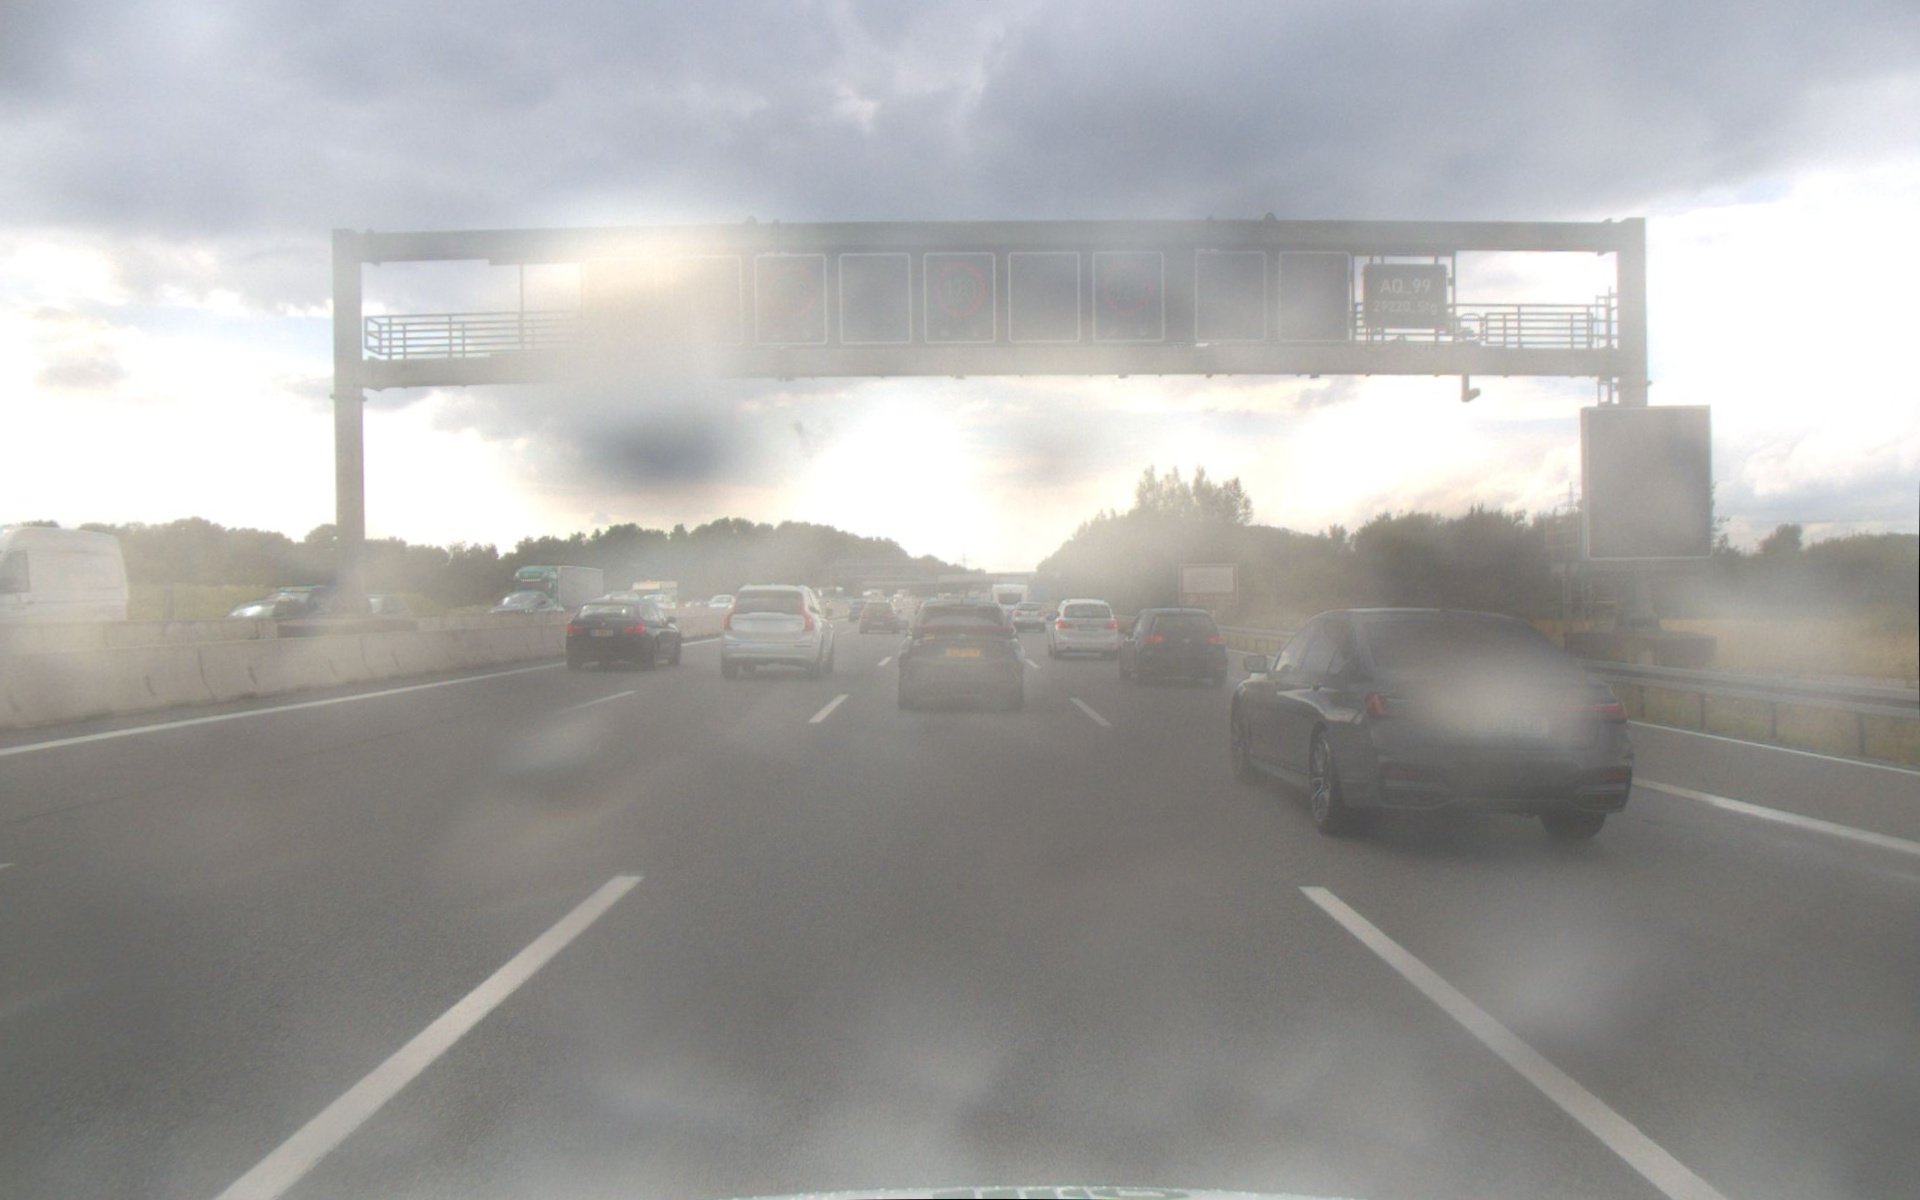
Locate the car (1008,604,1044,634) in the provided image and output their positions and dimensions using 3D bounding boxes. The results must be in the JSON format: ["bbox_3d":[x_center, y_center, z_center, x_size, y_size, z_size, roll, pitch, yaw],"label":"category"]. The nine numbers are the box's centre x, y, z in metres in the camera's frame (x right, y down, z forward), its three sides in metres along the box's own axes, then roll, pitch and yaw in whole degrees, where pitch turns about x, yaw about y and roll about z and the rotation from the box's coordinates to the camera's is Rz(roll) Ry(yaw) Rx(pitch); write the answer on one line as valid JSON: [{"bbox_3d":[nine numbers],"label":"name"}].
[{"bbox_3d":[3.341,0.967,84.597,1.758,1.503,4.038,1,0,1],"label":"car"}]

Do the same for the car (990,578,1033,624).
[{"bbox_3d":[3.323,0.073,108.573,2.514,2.946,7.532,1,0,-1],"label":"car"}]

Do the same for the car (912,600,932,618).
[{"bbox_3d":[-3.702,0.882,160.748,1.843,1.715,3.999,1,0,-1],"label":"car"}]

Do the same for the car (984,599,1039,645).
[{"bbox_3d":[1.972,0.824,63.852,1.843,1.715,3.998,1,0,-2],"label":"car"}]

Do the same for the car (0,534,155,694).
[{"bbox_3d":[-16.965,0.226,29.752,1.953,2.662,6.341,1,0,-1],"label":"car"}]

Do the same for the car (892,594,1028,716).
[{"bbox_3d":[-0.094,0.746,24.551,1.745,1.641,4.594,1,0,-4],"label":"car"}]

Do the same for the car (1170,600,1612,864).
[{"bbox_3d":[2.817,0.775,12.006,1.900,1.517,4.774,1,0,-1],"label":"car"}]

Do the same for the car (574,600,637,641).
[{"bbox_3d":[-17.294,0.961,80.862,1.953,1.931,5.186,1,0,0],"label":"car"}]

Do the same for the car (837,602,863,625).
[{"bbox_3d":[-7.344,0.912,110.939,1.531,1.503,3.919,1,0,-1],"label":"car"}]

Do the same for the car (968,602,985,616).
[{"bbox_3d":[1.972,1.061,195.136,1.843,1.715,3.998,1,0,-2],"label":"car"}]

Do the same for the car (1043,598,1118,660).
[{"bbox_3d":[3.326,0.780,46.355,1.773,1.627,4.695,1,0,0],"label":"car"}]

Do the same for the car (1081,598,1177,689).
[{"bbox_3d":[3.272,0.799,32.619,1.671,1.659,4.458,0,0,3],"label":"car"}]

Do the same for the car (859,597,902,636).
[{"bbox_3d":[-3.622,0.749,75.937,1.843,1.715,3.999,1,0,-1],"label":"car"}]

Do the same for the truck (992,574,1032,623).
[{"bbox_3d":[4.155,-0.094,134.029,3.068,3.774,9.848,0,0,1],"label":"truck"}]

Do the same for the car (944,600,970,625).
[{"bbox_3d":[-0.228,0.890,119.735,1.843,1.715,3.999,1,0,-1],"label":"car"}]

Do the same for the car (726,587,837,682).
[{"bbox_3d":[-3.456,0.642,32.704,1.744,1.746,4.352,1,0,-1],"label":"car"}]

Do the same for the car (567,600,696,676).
[{"bbox_3d":[-6.960,0.776,35.466,1.744,1.507,4.354,0,0,2],"label":"car"}]

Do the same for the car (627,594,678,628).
[{"bbox_3d":[-17.531,0.615,94.462,1.953,1.885,5.078,0,0,0],"label":"car"}]

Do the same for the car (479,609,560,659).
[{"bbox_3d":[-17.561,1.323,66.207,1.953,1.918,5.185,1,0,-1],"label":"car"}]
